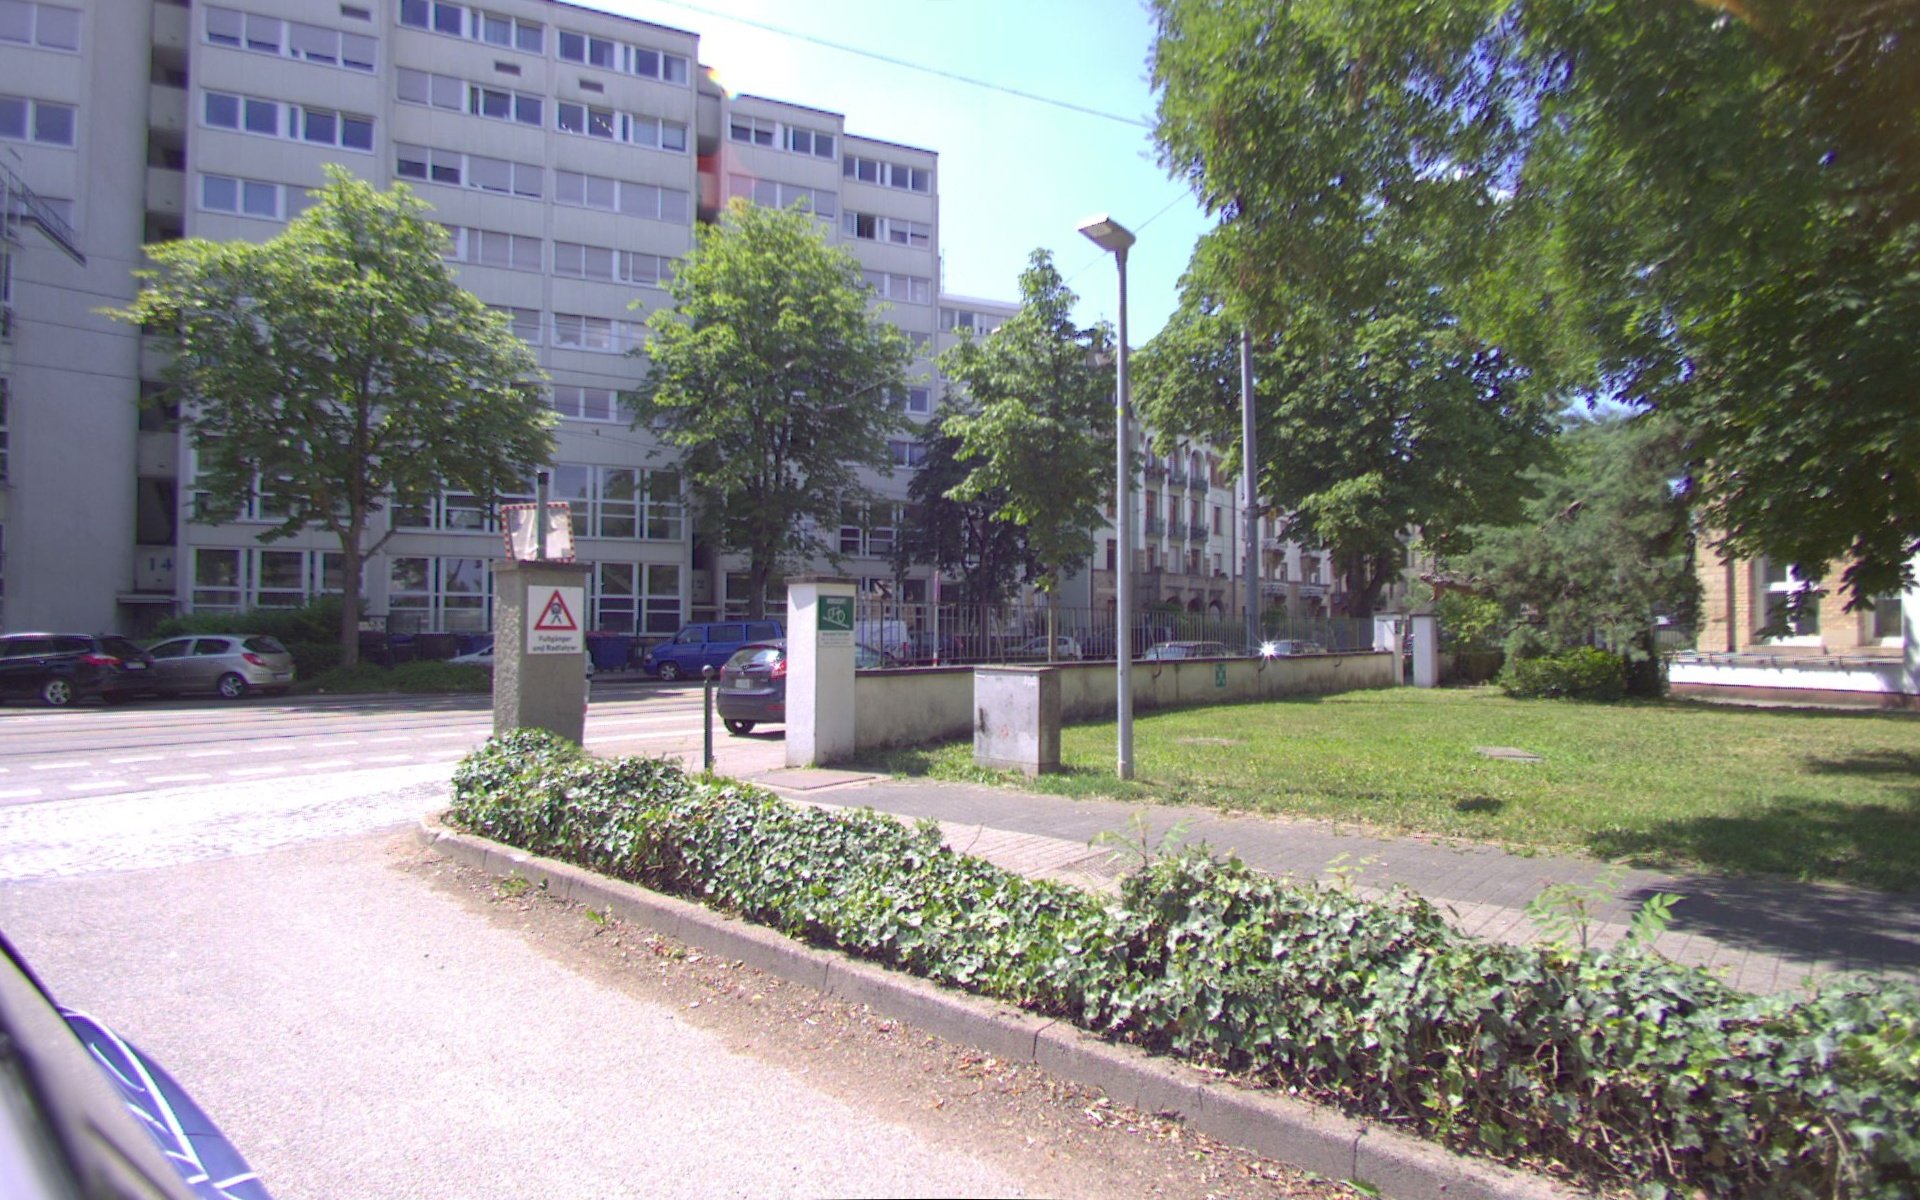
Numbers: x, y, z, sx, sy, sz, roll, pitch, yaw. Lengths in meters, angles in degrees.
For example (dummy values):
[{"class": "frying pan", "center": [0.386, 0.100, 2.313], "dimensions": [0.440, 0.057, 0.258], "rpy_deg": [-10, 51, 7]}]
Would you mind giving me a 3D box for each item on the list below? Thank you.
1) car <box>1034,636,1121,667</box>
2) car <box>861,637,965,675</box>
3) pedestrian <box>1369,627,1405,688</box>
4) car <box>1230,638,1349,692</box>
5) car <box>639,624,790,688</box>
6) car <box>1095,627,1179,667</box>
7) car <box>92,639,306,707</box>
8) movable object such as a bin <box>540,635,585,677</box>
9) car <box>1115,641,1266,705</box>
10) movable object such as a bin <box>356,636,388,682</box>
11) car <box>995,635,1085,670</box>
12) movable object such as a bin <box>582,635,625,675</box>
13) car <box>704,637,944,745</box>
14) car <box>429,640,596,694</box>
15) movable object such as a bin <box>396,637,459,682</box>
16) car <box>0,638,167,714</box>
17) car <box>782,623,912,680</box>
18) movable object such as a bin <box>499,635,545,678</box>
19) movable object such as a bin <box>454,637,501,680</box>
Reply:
[{"class": "car", "center": [5.932, 2.569, 51.100], "dimensions": [3.975, 1.519, 1.933], "rpy_deg": [-1, -3, 24]}, {"class": "car", "center": [-1.830, 2.222, 40.417], "dimensions": [3.951, 1.497, 1.667], "rpy_deg": [-1, -2, 7]}, {"class": "pedestrian", "center": [11.262, 1.502, 26.694], "dimensions": [0.696, 1.579, 0.734], "rpy_deg": [-2, -3, 39]}, {"class": "car", "center": [9.842, 1.894, 30.109], "dimensions": [1.952, 1.455, 3.720], "rpy_deg": [-3, -3, 43]}, {"class": "car", "center": [-7.938, 1.808, 33.143], "dimensions": [4.560, 2.029, 2.002], "rpy_deg": [0, -2, -4]}, {"class": "car", "center": [9.229, 2.453, 52.710], "dimensions": [3.975, 2.029, 1.984], "rpy_deg": [-1, -3, 24]}, {"class": "car", "center": [-17.239, 1.634, 23.081], "dimensions": [3.486, 1.473, 1.756], "rpy_deg": [0, -2, -5]}, {"class": "movable object such as a bin", "center": [-13.733, 1.917, 34.951], "dimensions": [1.163, 1.409, 1.039], "rpy_deg": [1, -3, -41]}, {"class": "car", "center": [5.796, 1.763, 25.165], "dimensions": [1.884, 1.429, 4.092], "rpy_deg": [-3, -3, 43]}, {"class": "movable object such as a bin", "center": [-18.312, 1.828, 31.522], "dimensions": [0.790, 1.416, 0.769], "rpy_deg": [1, -3, -35]}, {"class": "car", "center": [3.752, 2.478, 48.080], "dimensions": [3.938, 1.397, 1.753], "rpy_deg": [2, -1, -6]}, {"class": "movable object such as a bin", "center": [-12.688, 1.950, 36.040], "dimensions": [1.163, 1.409, 1.039], "rpy_deg": [1, -3, -41]}, {"class": "car", "center": [-2.016, 1.351, 15.810], "dimensions": [1.586, 1.468, 3.679], "rpy_deg": [-5, -5, 37]}, {"class": "car", "center": [-12.390, 1.834, 28.228], "dimensions": [3.920, 1.424, 1.717], "rpy_deg": [0, -2, -6]}, {"class": "movable object such as a bin", "center": [-16.561, 1.841, 31.494], "dimensions": [1.126, 1.340, 1.432], "rpy_deg": [-3, -3, 42]}, {"class": "car", "center": [-19.111, 1.540, 20.795], "dimensions": [4.133, 1.481, 1.756], "rpy_deg": [0, -2, -5]}, {"class": "car", "center": [-4.158, 1.917, 37.837], "dimensions": [4.570, 2.029, 1.998], "rpy_deg": [0, -2, 3]}, {"class": "movable object such as a bin", "center": [-14.698, 1.887, 33.940], "dimensions": [1.163, 1.409, 1.039], "rpy_deg": [1, -3, -41]}, {"class": "movable object such as a bin", "center": [-15.595, 1.881, 32.714], "dimensions": [0.971, 1.340, 1.062], "rpy_deg": [-3, -3, 42]}]
